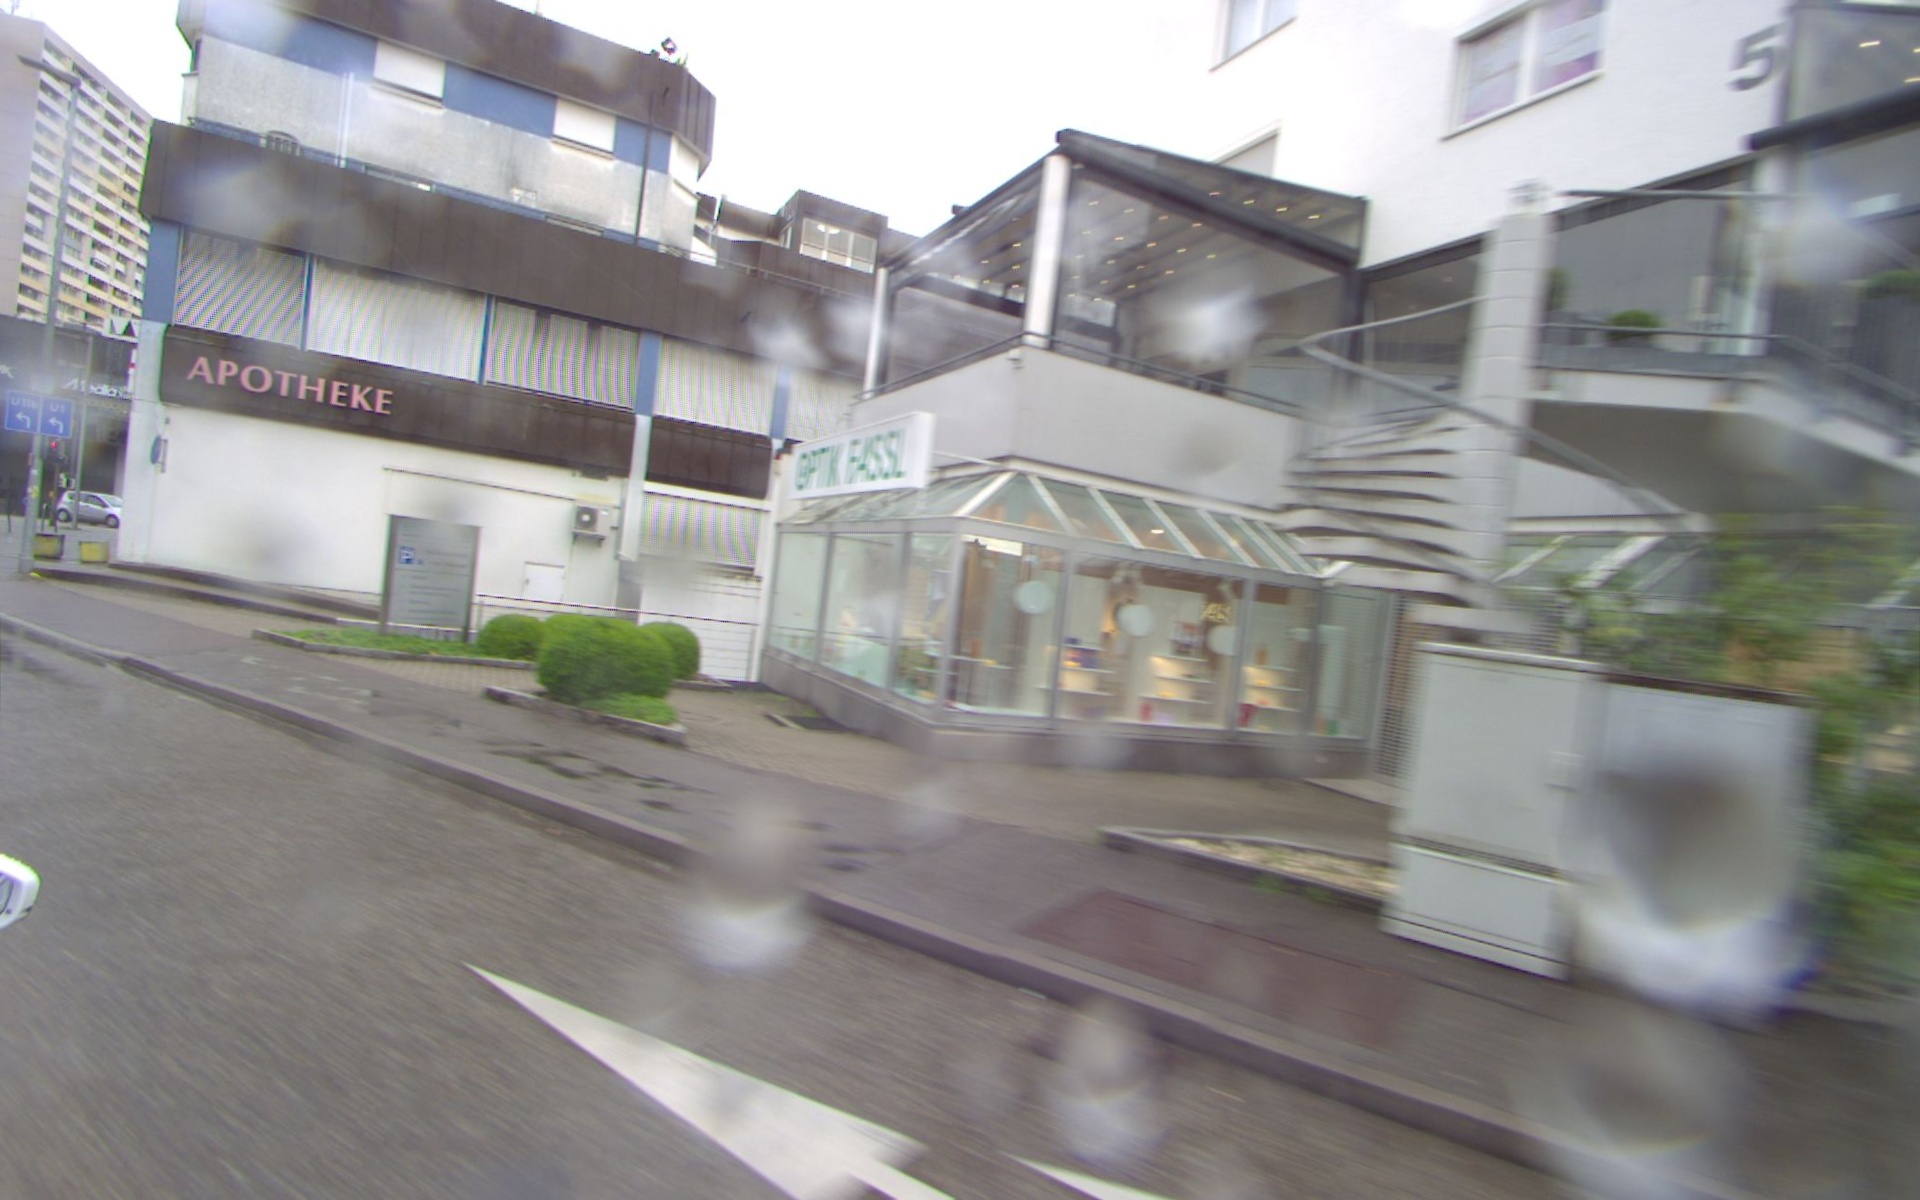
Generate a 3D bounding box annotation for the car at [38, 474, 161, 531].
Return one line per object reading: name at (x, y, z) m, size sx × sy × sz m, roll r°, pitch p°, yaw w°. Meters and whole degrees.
car at (-41.895, -4.714, 49.070) m, size 3.933 × 2.038 × 1.996 m, roll 7°, pitch 0°, yaw -10°
